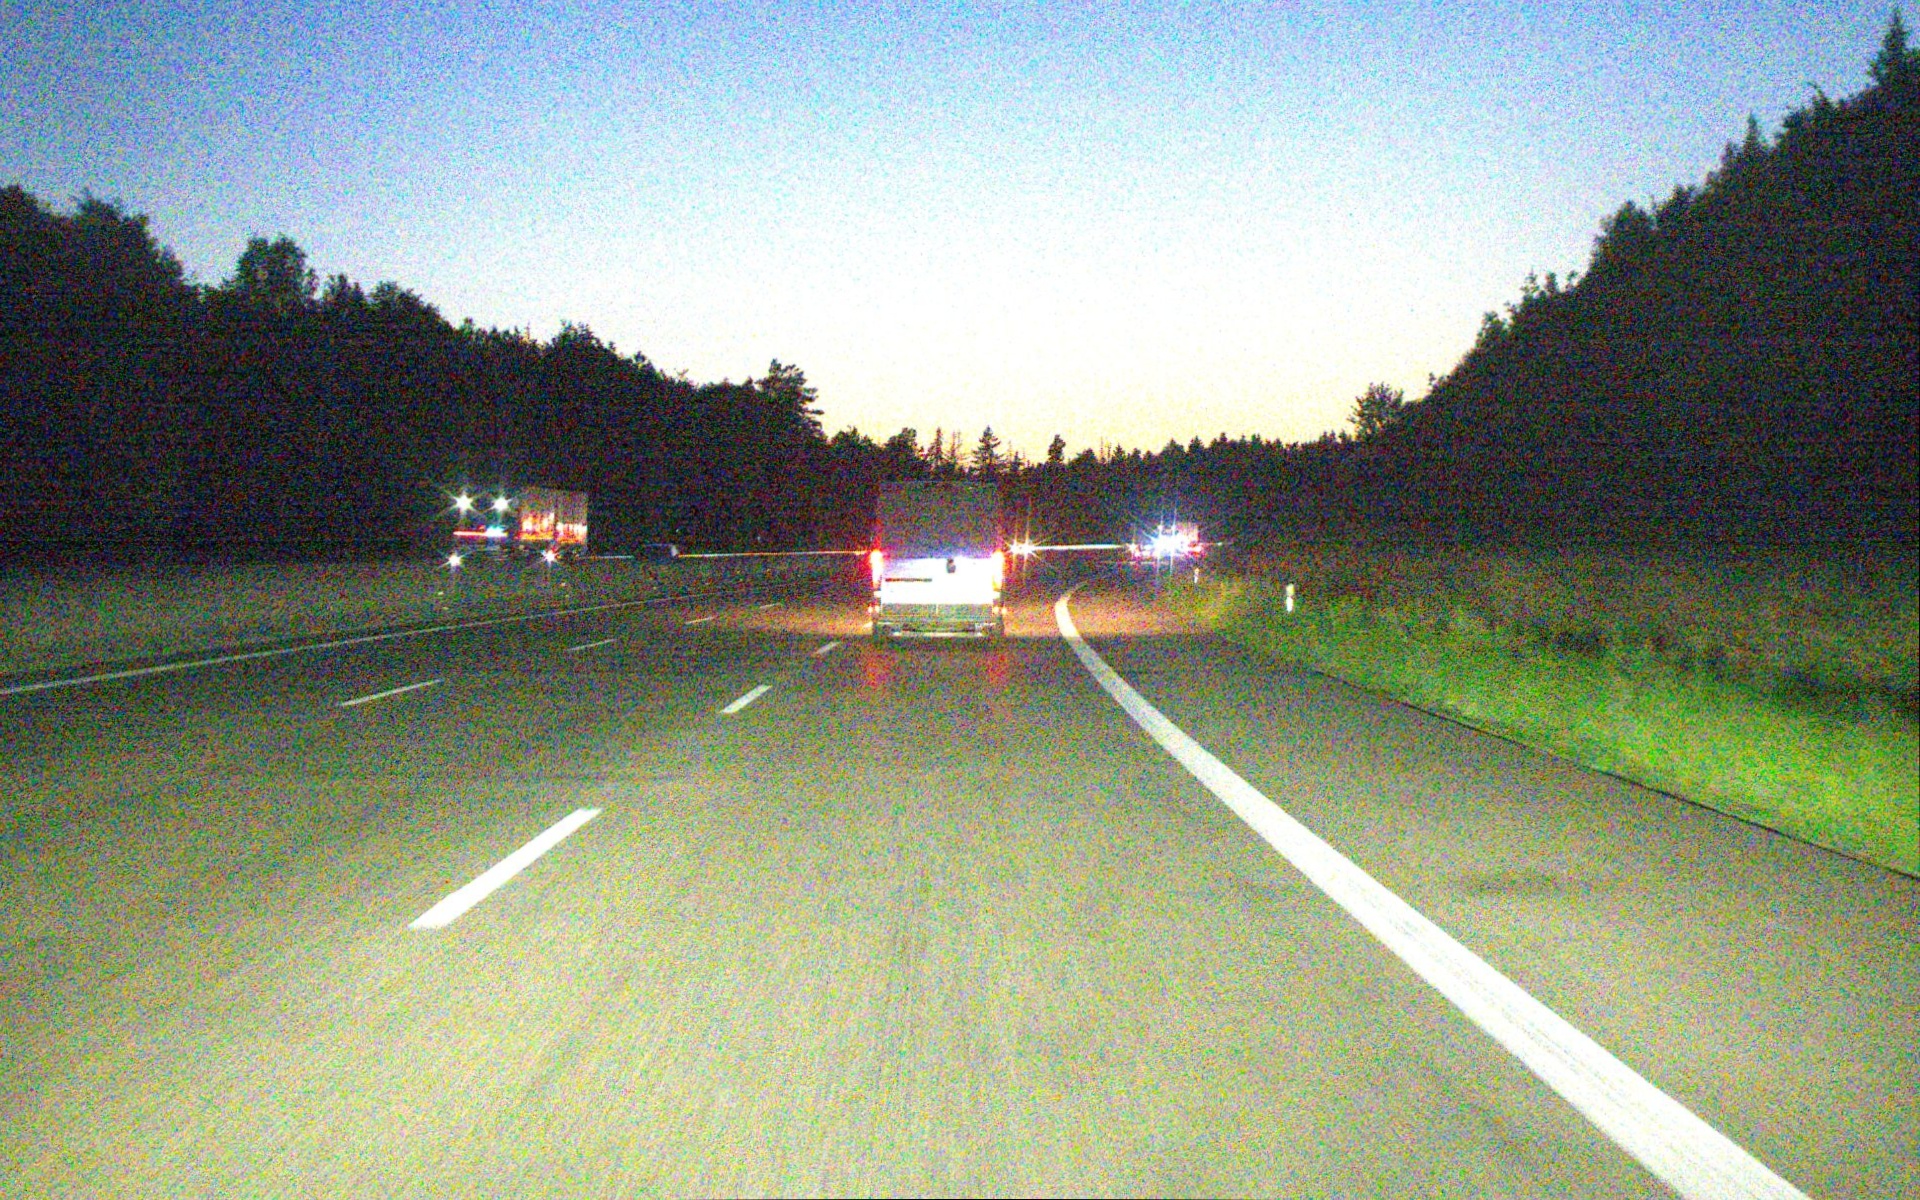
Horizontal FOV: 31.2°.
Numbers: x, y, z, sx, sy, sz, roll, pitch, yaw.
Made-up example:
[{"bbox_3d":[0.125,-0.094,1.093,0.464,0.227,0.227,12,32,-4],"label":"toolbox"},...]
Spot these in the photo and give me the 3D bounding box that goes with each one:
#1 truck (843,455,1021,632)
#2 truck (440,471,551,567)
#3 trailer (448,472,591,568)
[{"bbox_3d":[-0.437,-0.881,55.410,2.630,2.615,8.685,0,1,0],"label":"truck"},{"bbox_3d":[-19.584,-3.391,145.342,3.502,3.956,6.699,0,0,3],"label":"truck"},{"bbox_3d":[-19.339,-3.444,152.263,3.543,3.986,17.282,0,1,2],"label":"trailer"}]
